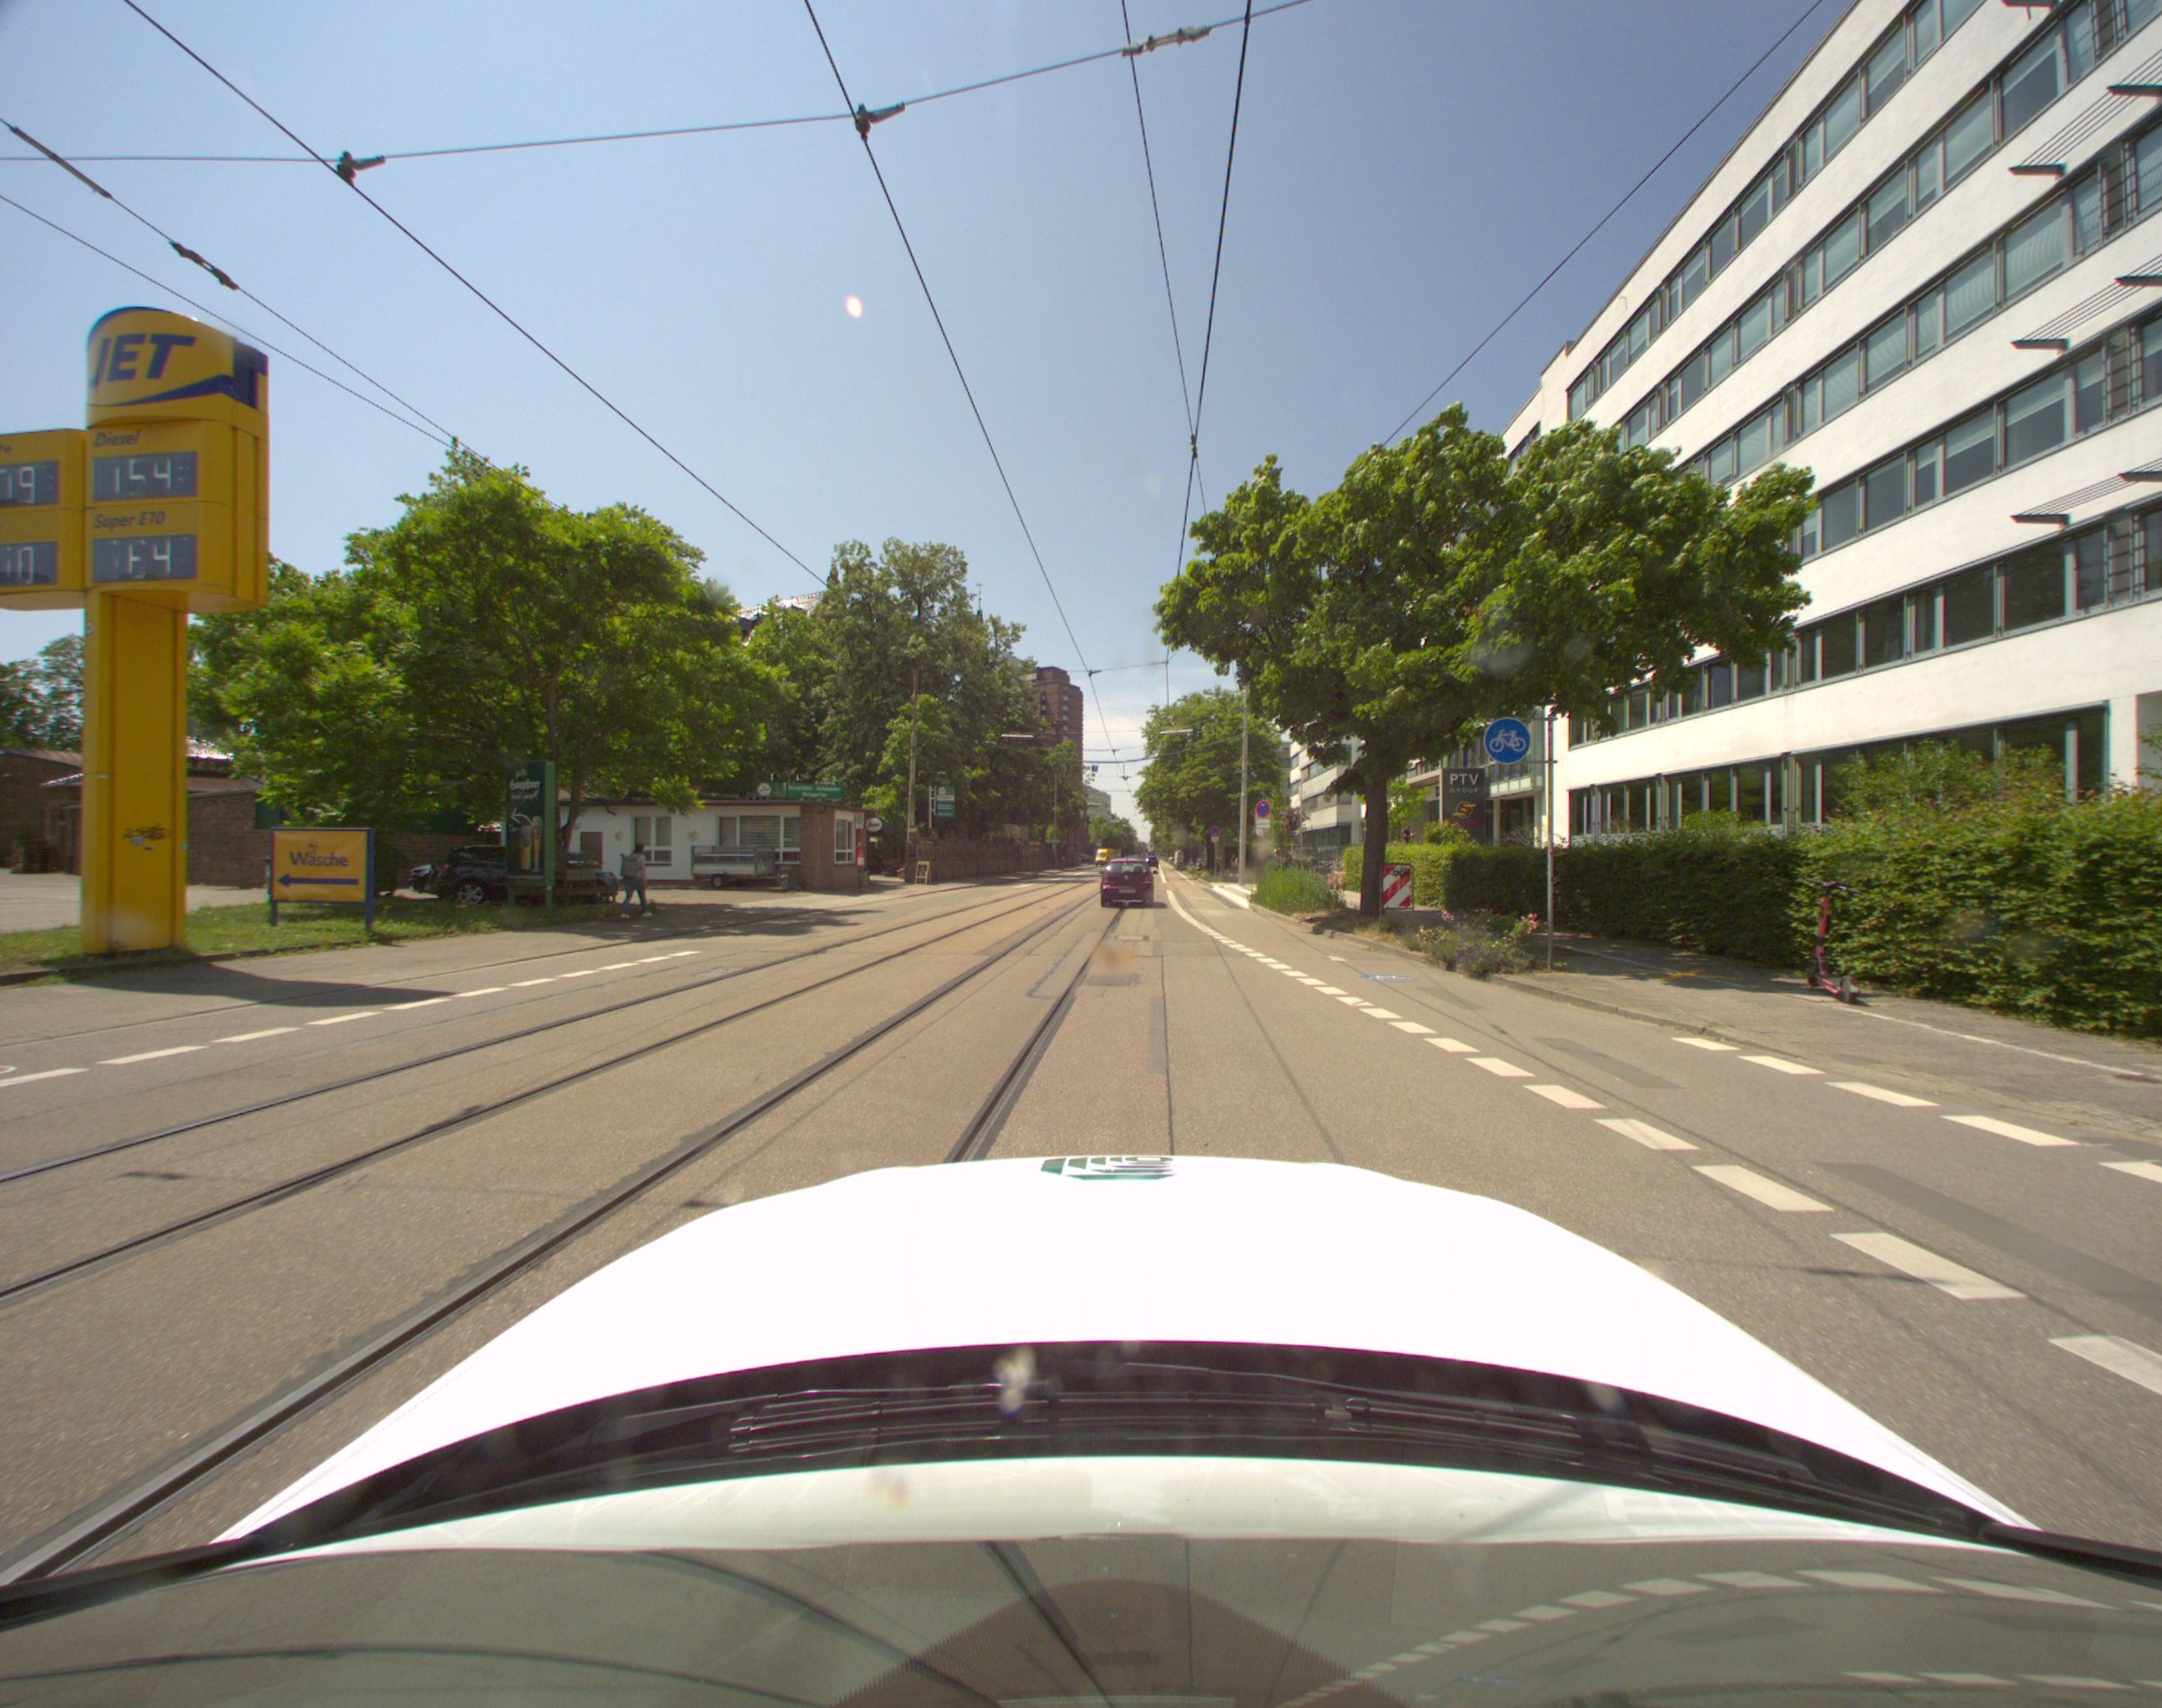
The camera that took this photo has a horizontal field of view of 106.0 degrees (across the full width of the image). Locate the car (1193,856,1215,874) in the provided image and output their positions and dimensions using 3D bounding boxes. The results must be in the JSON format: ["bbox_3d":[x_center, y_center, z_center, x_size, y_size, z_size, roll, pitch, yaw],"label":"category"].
[{"bbox_3d":[10.884,0.953,72.102,1.680,1.503,3.632,-1,-1,5],"label":"car"}]

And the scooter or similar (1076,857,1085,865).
[{"bbox_3d":[-0.073,0.975,119.456,1.091,1.155,0.524,2,0,-16],"label":"scooter or similar"}]

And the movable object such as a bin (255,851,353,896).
[{"bbox_3d":[-21.244,0.527,22.290,1.391,1.138,1.574,2,0,29],"label":"movable object such as a bin"}]

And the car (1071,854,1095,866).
[{"bbox_3d":[0.328,1.078,146.370,3.963,2.014,2.005,0,0,9],"label":"car"}]

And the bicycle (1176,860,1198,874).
[{"bbox_3d":[8.615,1.062,66.242,1.743,1.085,0.549,0,-1,5],"label":"bicycle"}]

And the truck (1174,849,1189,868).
[{"bbox_3d":[15.022,0.653,121.622,1.984,2.662,4.882,2,0,5],"label":"truck"}]

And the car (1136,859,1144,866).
[{"bbox_3d":[15.973,2.275,221.379,1.984,1.854,4.688,0,0,5],"label":"car"}]

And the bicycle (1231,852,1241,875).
[{"bbox_3d":[12.193,0.727,64.146,0.686,1.785,1.815,-1,-1,8],"label":"bicycle"}]

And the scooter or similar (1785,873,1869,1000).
[{"bbox_3d":[7.837,0.828,8.588,0.323,1.222,1.158,1,0,26],"label":"scooter or similar"}]

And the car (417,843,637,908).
[{"bbox_3d":[-14.452,0.542,21.438,1.911,1.488,4.477,2,0,45],"label":"car"}]

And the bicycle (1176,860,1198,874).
[{"bbox_3d":[8.689,1.061,66.839,1.743,1.085,0.549,0,-1,5],"label":"bicycle"}]

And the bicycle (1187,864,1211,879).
[{"bbox_3d":[8.841,1.334,61.072,1.815,1.085,0.720,0,-2,8],"label":"bicycle"}]

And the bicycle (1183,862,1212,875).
[{"bbox_3d":[13.027,1.655,91.133,3.057,1.313,0.782,2,0,3],"label":"bicycle"}]

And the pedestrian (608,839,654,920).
[{"bbox_3d":[-10.159,0.563,18.417,0.578,1.775,0.700,2,0,2],"label":"pedestrian"}]

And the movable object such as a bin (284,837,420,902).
[{"bbox_3d":[-18.211,0.364,20.396,1.506,1.509,2.112,2,0,30],"label":"movable object such as a bin"}]

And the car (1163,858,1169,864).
[{"bbox_3d":[26.950,2.268,258.061,1.666,1.656,4.006,2,0,5],"label":"car"}]

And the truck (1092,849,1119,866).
[{"bbox_3d":[4.246,0.555,139.695,2.349,2.787,7.356,0,0,21],"label":"truck"}]

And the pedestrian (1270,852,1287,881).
[{"bbox_3d":[12.058,0.764,49.765,0.681,1.796,0.669,-1,-1,-26],"label":"pedestrian"}]

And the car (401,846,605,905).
[{"bbox_3d":[-16.487,0.592,23.392,1.911,1.488,4.477,2,0,45],"label":"car"}]

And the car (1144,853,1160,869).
[{"bbox_3d":[9.427,0.899,108.717,1.985,2.013,4.003,2,0,3],"label":"car"}]

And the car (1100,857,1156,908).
[{"bbox_3d":[1.556,0.830,25.881,1.611,1.486,4.006,0,0,6],"label":"car"}]

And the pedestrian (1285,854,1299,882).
[{"bbox_3d":[12.784,0.838,49.339,0.539,1.715,0.561,-1,-1,-24],"label":"pedestrian"}]

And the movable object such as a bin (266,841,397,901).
[{"bbox_3d":[-19.532,0.428,21.267,1.506,1.432,2.112,2,0,30],"label":"movable object such as a bin"}]

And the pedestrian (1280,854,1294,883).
[{"bbox_3d":[12.352,0.849,48.931,0.539,1.715,0.561,-1,-1,-24],"label":"pedestrian"}]

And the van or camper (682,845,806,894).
[{"bbox_3d":[-12.448,0.544,30.212,3.766,1.629,1.874,2,1,5],"label":"van or camper"}]

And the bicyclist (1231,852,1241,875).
[{"bbox_3d":[12.200,0.734,64.139,0.692,1.799,0.889,-1,-1,8],"label":"bicyclist"}]

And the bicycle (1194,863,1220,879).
[{"bbox_3d":[9.303,1.271,60.054,1.874,1.182,0.695,0,-1,5],"label":"bicycle"}]

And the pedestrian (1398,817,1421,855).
[{"bbox_3d":[15.225,-0.822,37.741,0.867,1.715,1.094,-2,-1,18],"label":"pedestrian"}]

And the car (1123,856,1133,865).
[{"bbox_3d":[8.821,1.230,153.977,1.762,1.516,4.006,0,0,5],"label":"car"}]
